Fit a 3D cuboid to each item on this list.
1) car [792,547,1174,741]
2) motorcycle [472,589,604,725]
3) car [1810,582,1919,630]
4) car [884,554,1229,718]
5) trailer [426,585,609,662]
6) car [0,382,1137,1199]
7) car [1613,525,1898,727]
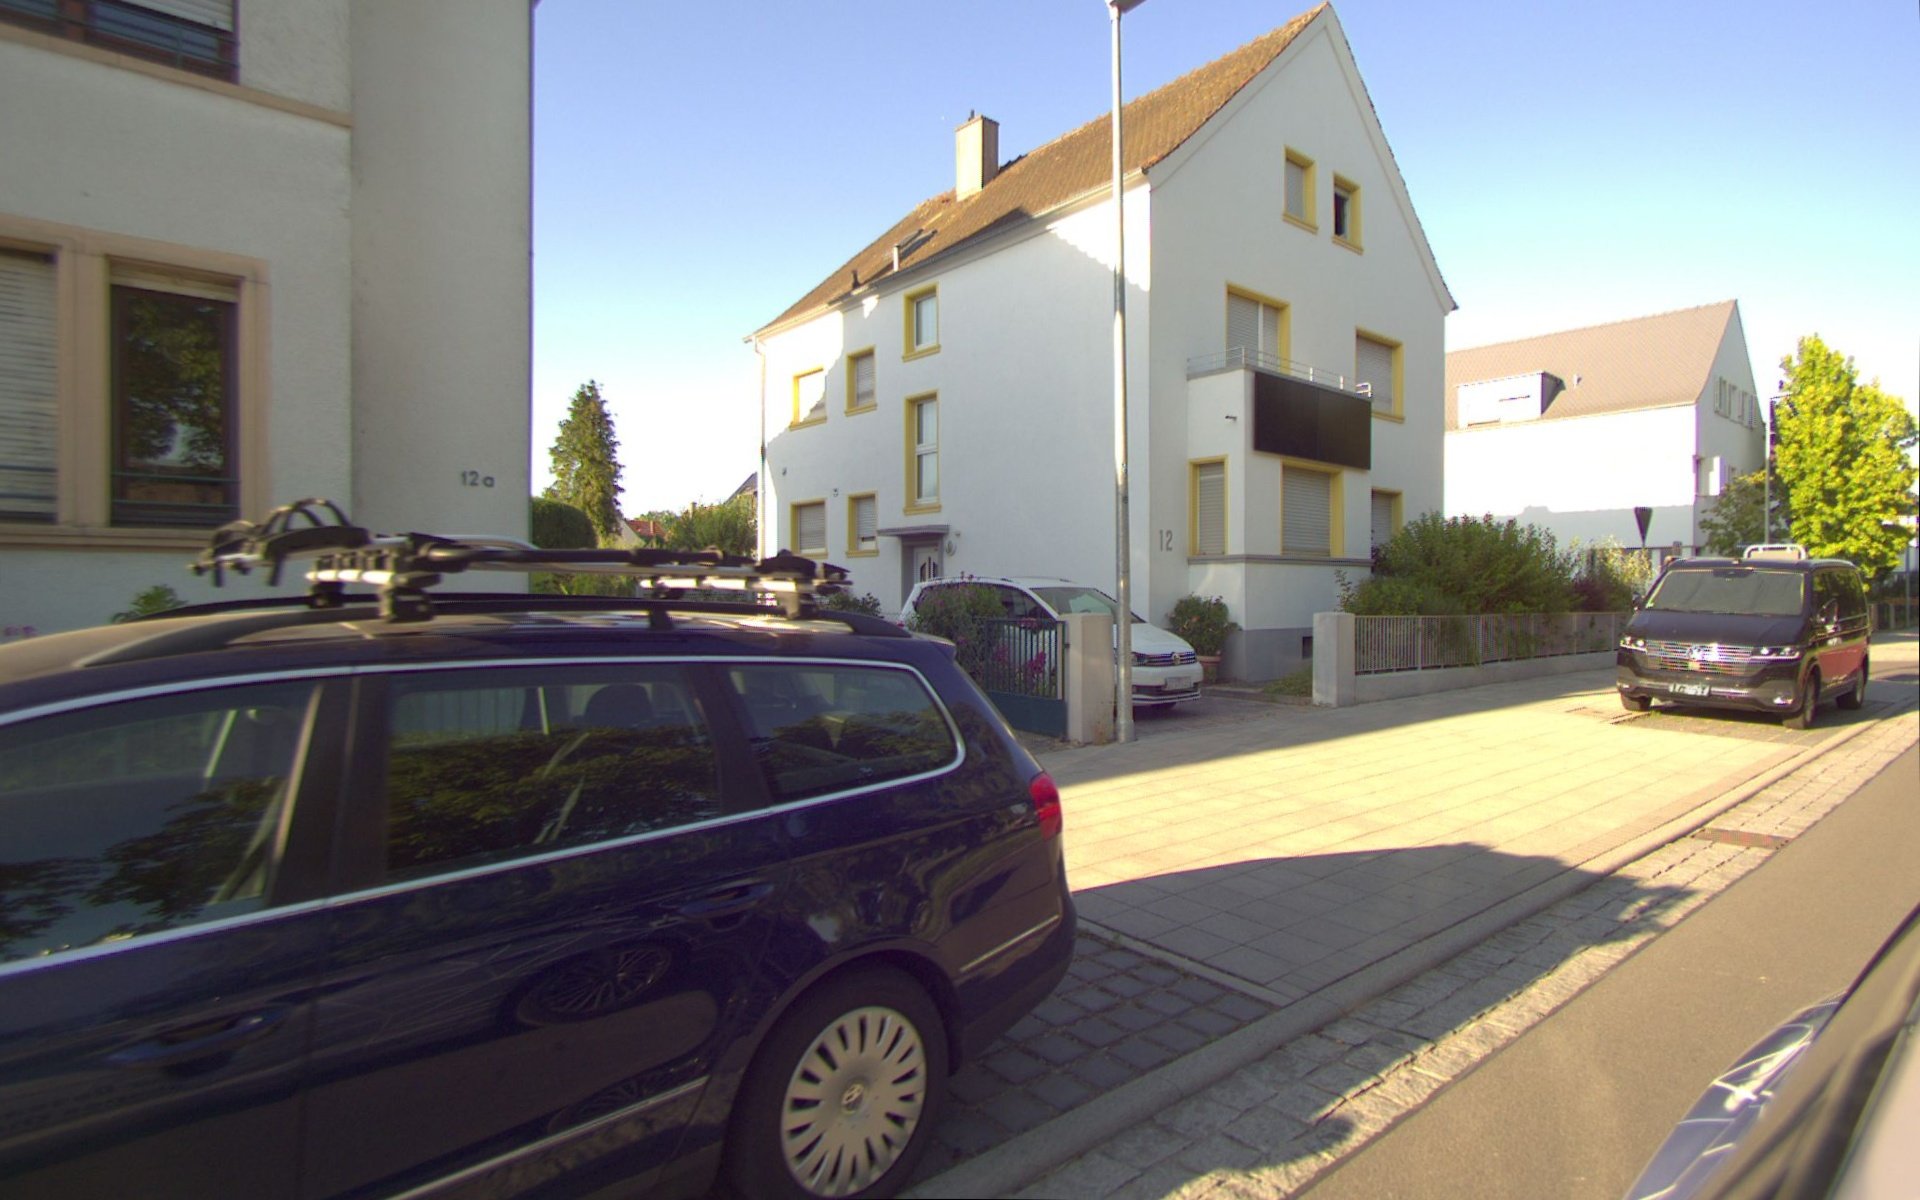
[{"bbox_3d":[0.084,0.370,11.264,1.822,1.747,4.221,-1,1,-43],"label":"car"},{"bbox_3d":[-4.392,0.528,10.446,0.588,1.263,2.072,-1,1,-42],"label":"motorcycle"},{"bbox_3d":[38.082,0.276,42.107,3.983,1.869,1.786,-3,-3,45],"label":"car"},{"bbox_3d":[1.082,0.424,12.972,1.822,1.748,4.220,-1,-1,-43],"label":"car"},{"bbox_3d":[-8.321,0.418,18.855,1.966,1.279,4.067,0,-1,-42],"label":"trailer"},{"bbox_3d":[-1.726,0.568,2.244,4.394,1.793,1.797,-1,2,-41],"label":"car"},{"bbox_3d":[10.350,0.220,13.038,4.728,2.158,1.910,-1,2,-40],"label":"car"}]
